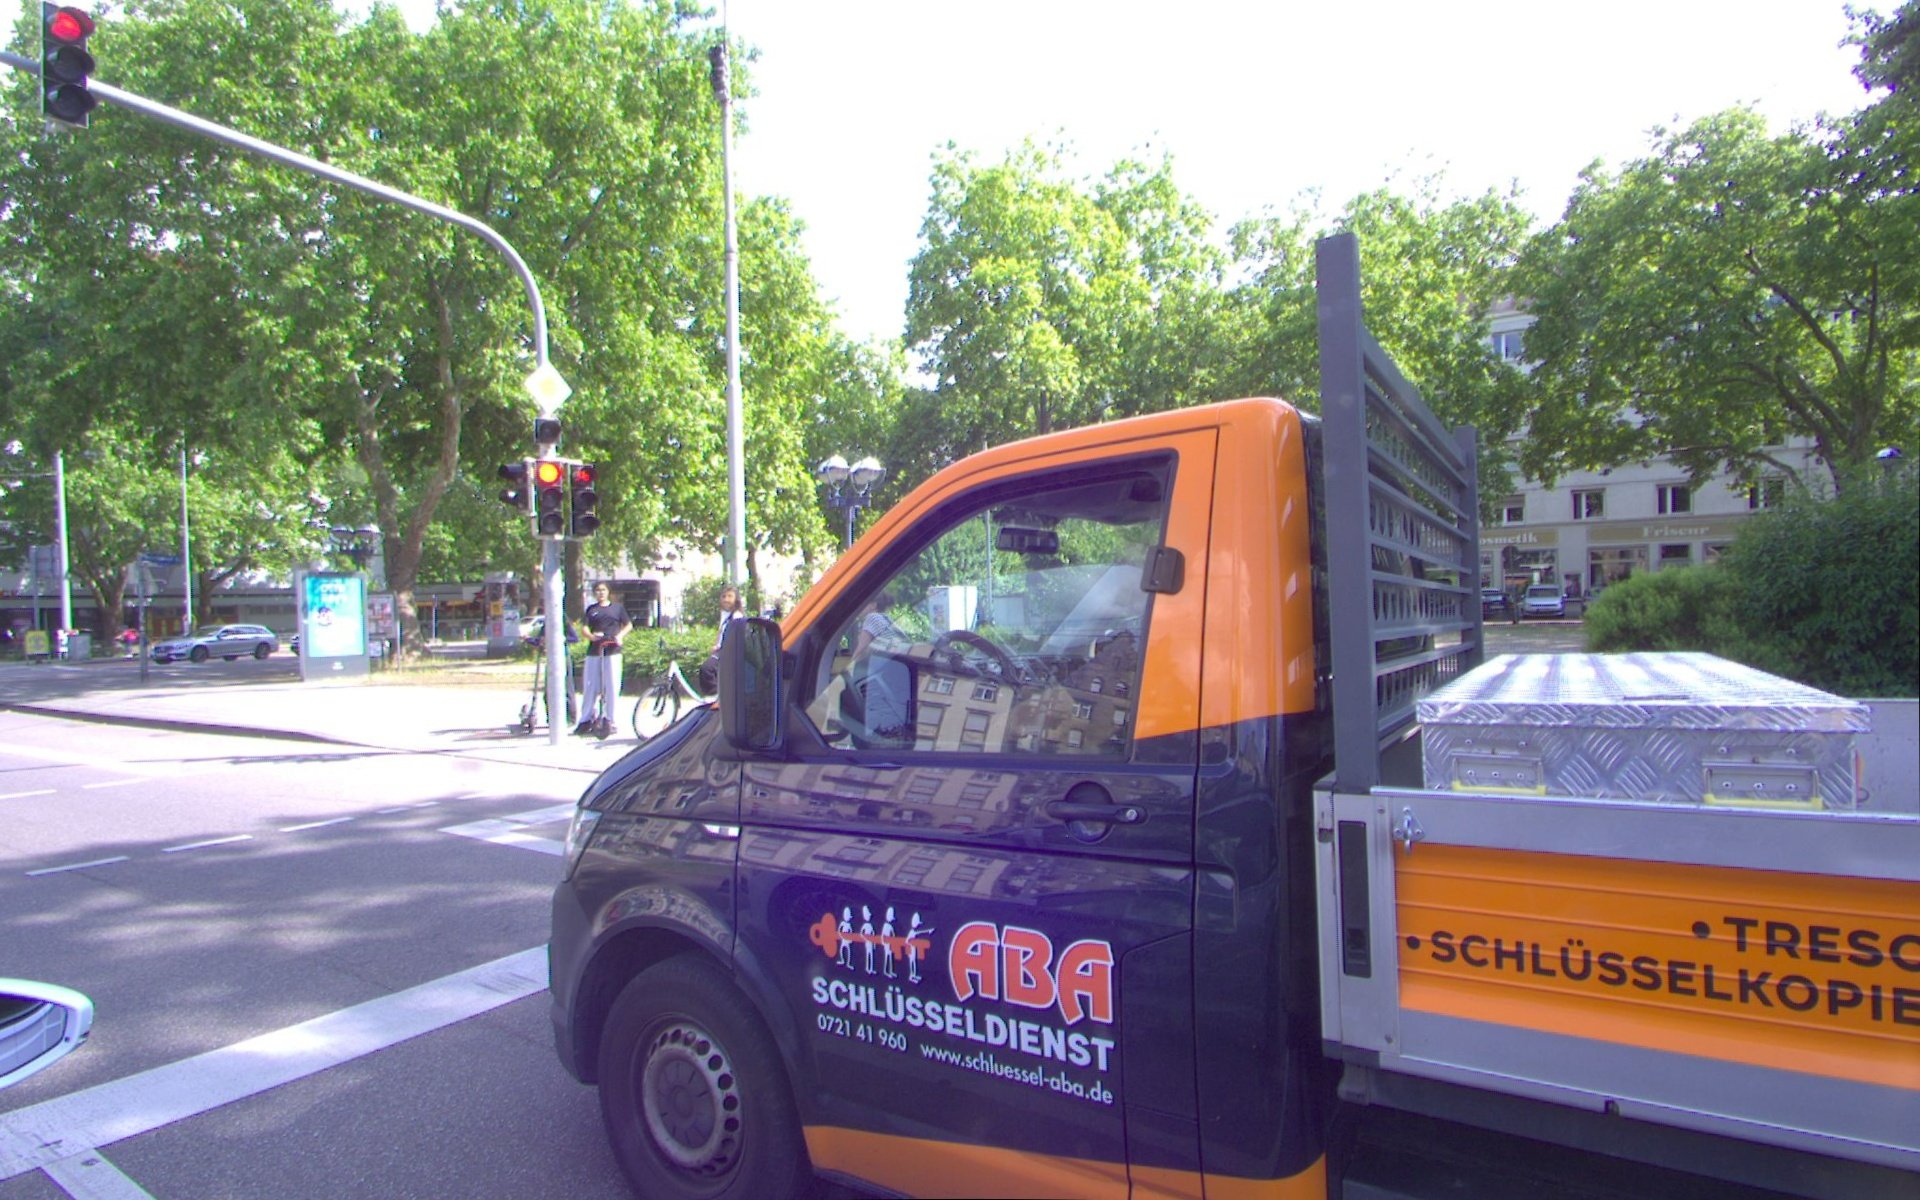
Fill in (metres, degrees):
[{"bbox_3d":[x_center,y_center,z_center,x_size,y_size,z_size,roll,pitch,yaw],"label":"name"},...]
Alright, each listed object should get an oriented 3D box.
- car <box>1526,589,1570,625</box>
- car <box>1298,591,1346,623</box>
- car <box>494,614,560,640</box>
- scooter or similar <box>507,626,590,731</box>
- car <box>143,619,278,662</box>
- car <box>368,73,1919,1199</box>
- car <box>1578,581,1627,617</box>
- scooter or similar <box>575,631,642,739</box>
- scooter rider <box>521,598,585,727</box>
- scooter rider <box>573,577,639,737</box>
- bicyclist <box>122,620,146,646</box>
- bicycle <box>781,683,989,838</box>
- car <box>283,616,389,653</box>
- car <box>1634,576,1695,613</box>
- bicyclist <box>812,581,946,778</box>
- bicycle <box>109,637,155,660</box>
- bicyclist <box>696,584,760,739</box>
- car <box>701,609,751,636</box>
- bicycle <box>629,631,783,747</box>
[{"bbox_3d":[29.756,0.342,50.711,1.824,1.681,4.063,-1,1,30],"label":"car"},{"bbox_3d":[20.814,0.389,57.432,1.825,1.681,4.062,-1,1,31],"label":"car"},{"bbox_3d":[-28.346,1.767,65.651,1.829,1.510,3.840,-1,0,21],"label":"car"},{"bbox_3d":[-5.231,0.984,12.780,0.534,1.243,0.875,-2,2,11],"label":"scooter or similar"},{"bbox_3d":[-29.818,1.575,39.972,1.827,1.510,3.994,-1,0,16],"label":"car"},{"bbox_3d":[1.062,0.451,2.354,5.263,2.012,2.069,-3,-1,33],"label":"car"},{"bbox_3d":[31.698,-0.079,49.464,1.824,1.681,4.063,-1,1,30],"label":"car"},{"bbox_3d":[-4.235,0.990,12.036,0.537,1.187,0.871,-3,3,-31],"label":"scooter or similar"},{"bbox_3d":[-5.217,0.796,12.865,0.534,1.615,0.437,-2,3,11],"label":"scooter rider"},{"bbox_3d":[-4.248,0.658,12.020,0.537,1.835,0.675,-3,3,-31],"label":"scooter rider"},{"bbox_3d":[-40.453,1.614,49.036,0.802,1.267,0.480,1,-1,-30],"label":"bicyclist"},{"bbox_3d":[-0.594,1.129,7.402,1.698,0.933,0.467,-1,1,42],"label":"bicycle"},{"bbox_3d":[-28.766,1.557,46.334,1.826,1.510,4.072,-1,0,12],"label":"car"},{"bbox_3d":[33.837,-0.265,48.207,2.052,1.681,4.063,-1,0,30],"label":"car"},{"bbox_3d":[-0.603,0.555,7.383,0.899,1.361,0.467,-1,1,42],"label":"bicyclist"},{"bbox_3d":[-40.511,2.377,48.989,1.658,1.102,0.480,1,-2,-30],"label":"bicycle"},{"bbox_3d":[-2.648,0.679,11.411,0.573,1.691,0.506,-4,3,-18],"label":"bicyclist"},{"bbox_3d":[-14.718,1.397,63.168,1.658,1.521,3.997,-1,1,9],"label":"car"},{"bbox_3d":[-2.873,0.979,11.346,1.602,1.128,0.506,-4,3,-18],"label":"bicycle"}]
